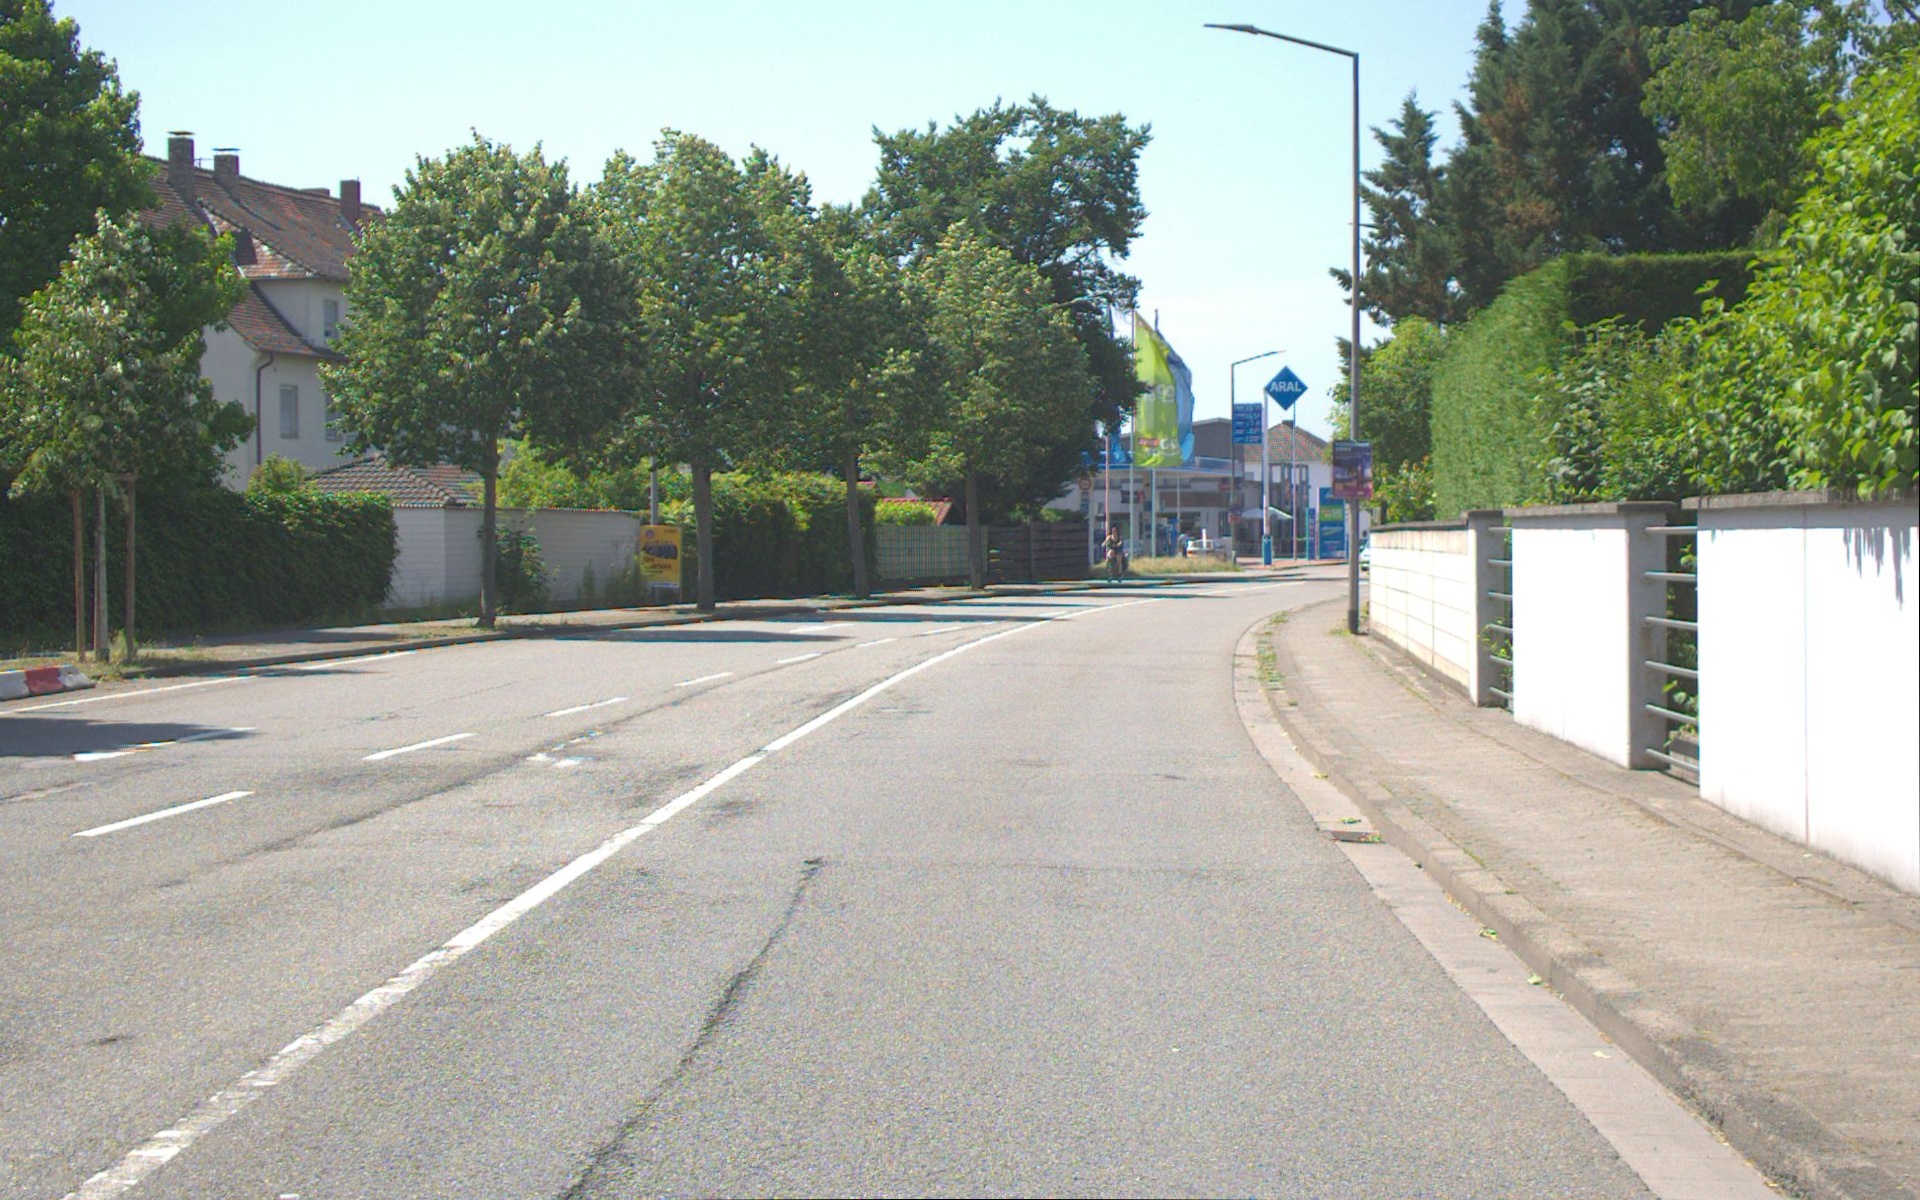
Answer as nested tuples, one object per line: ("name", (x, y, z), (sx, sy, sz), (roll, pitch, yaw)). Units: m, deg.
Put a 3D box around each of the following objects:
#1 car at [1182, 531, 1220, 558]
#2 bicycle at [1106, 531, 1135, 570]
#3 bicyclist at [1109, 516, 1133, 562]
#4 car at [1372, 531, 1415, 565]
("car", (13.387, -3.103, 190.953), (1.617, 1.415, 3.710), (-1, 1, 11))
("bicycle", (4.949, -1.537, 105.772), (0.632, 1.176, 1.815), (0, 1, 11))
("bicyclist", (4.959, -1.885, 105.797), (0.628, 1.404, 0.676), (0, 1, 11))
("car", (18.925, -2.274, 149.994), (1.613, 1.477, 3.706), (0, 1, 11))
